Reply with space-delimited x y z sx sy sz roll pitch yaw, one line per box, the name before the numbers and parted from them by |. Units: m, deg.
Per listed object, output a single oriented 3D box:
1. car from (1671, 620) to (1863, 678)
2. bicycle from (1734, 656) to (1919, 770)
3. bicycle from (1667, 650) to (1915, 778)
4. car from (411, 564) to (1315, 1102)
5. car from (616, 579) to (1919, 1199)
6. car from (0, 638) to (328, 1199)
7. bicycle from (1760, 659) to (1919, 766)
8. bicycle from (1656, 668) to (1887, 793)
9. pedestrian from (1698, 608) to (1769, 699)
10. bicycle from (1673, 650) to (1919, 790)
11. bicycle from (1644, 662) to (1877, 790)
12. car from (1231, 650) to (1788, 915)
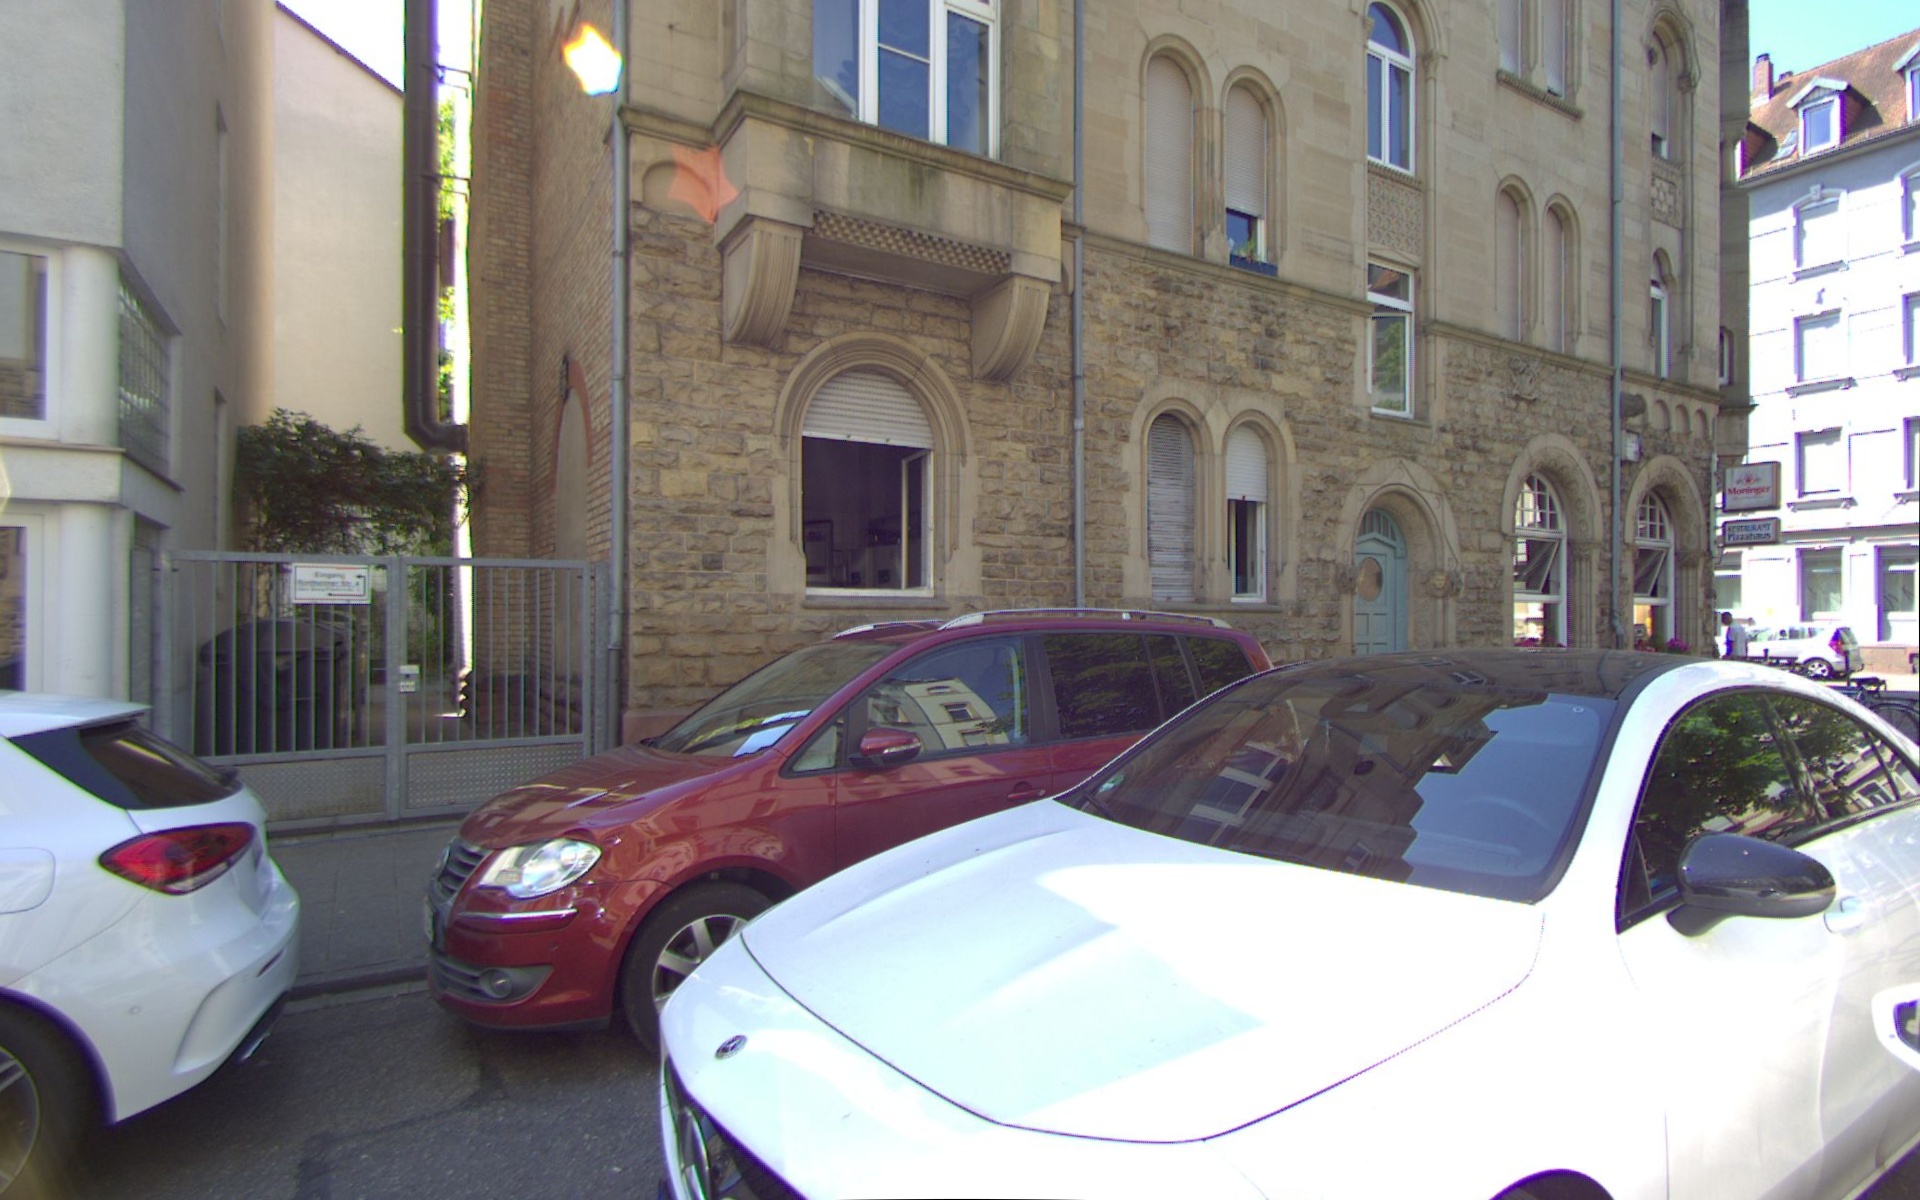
car | 23.478 1.393 29.368 1.787 1.582 4.025 1 -2 -32
bicycle | 9.561 1.198 10.970 0.410 1.059 1.693 1 1 -34
bicycle | 8.729 1.149 10.653 0.431 1.145 1.982 1 0 -34
car | -0.296 0.773 4.827 4.009 1.603 1.663 1 -4 -33
car | 1.432 0.804 2.877 4.313 1.479 1.832 1 -4 -32
car | -4.064 0.865 2.464 4.233 1.479 1.767 1 -4 -33
bicycle | 9.918 1.223 11.193 0.363 1.021 1.515 1 1 -34
bicycle | 7.853 1.236 9.811 0.289 1.114 1.692 1 -4 -34
pedestrian | 14.938 1.020 19.403 0.765 1.694 0.853 1 -2 -30
bicycle | 8.488 1.156 10.220 0.391 1.145 1.959 1 2 -34
bicycle | 7.606 1.169 9.634 0.289 1.114 1.692 1 -4 -34
car | 4.177 1.091 7.378 4.468 1.370 1.692 1 -4 -34
